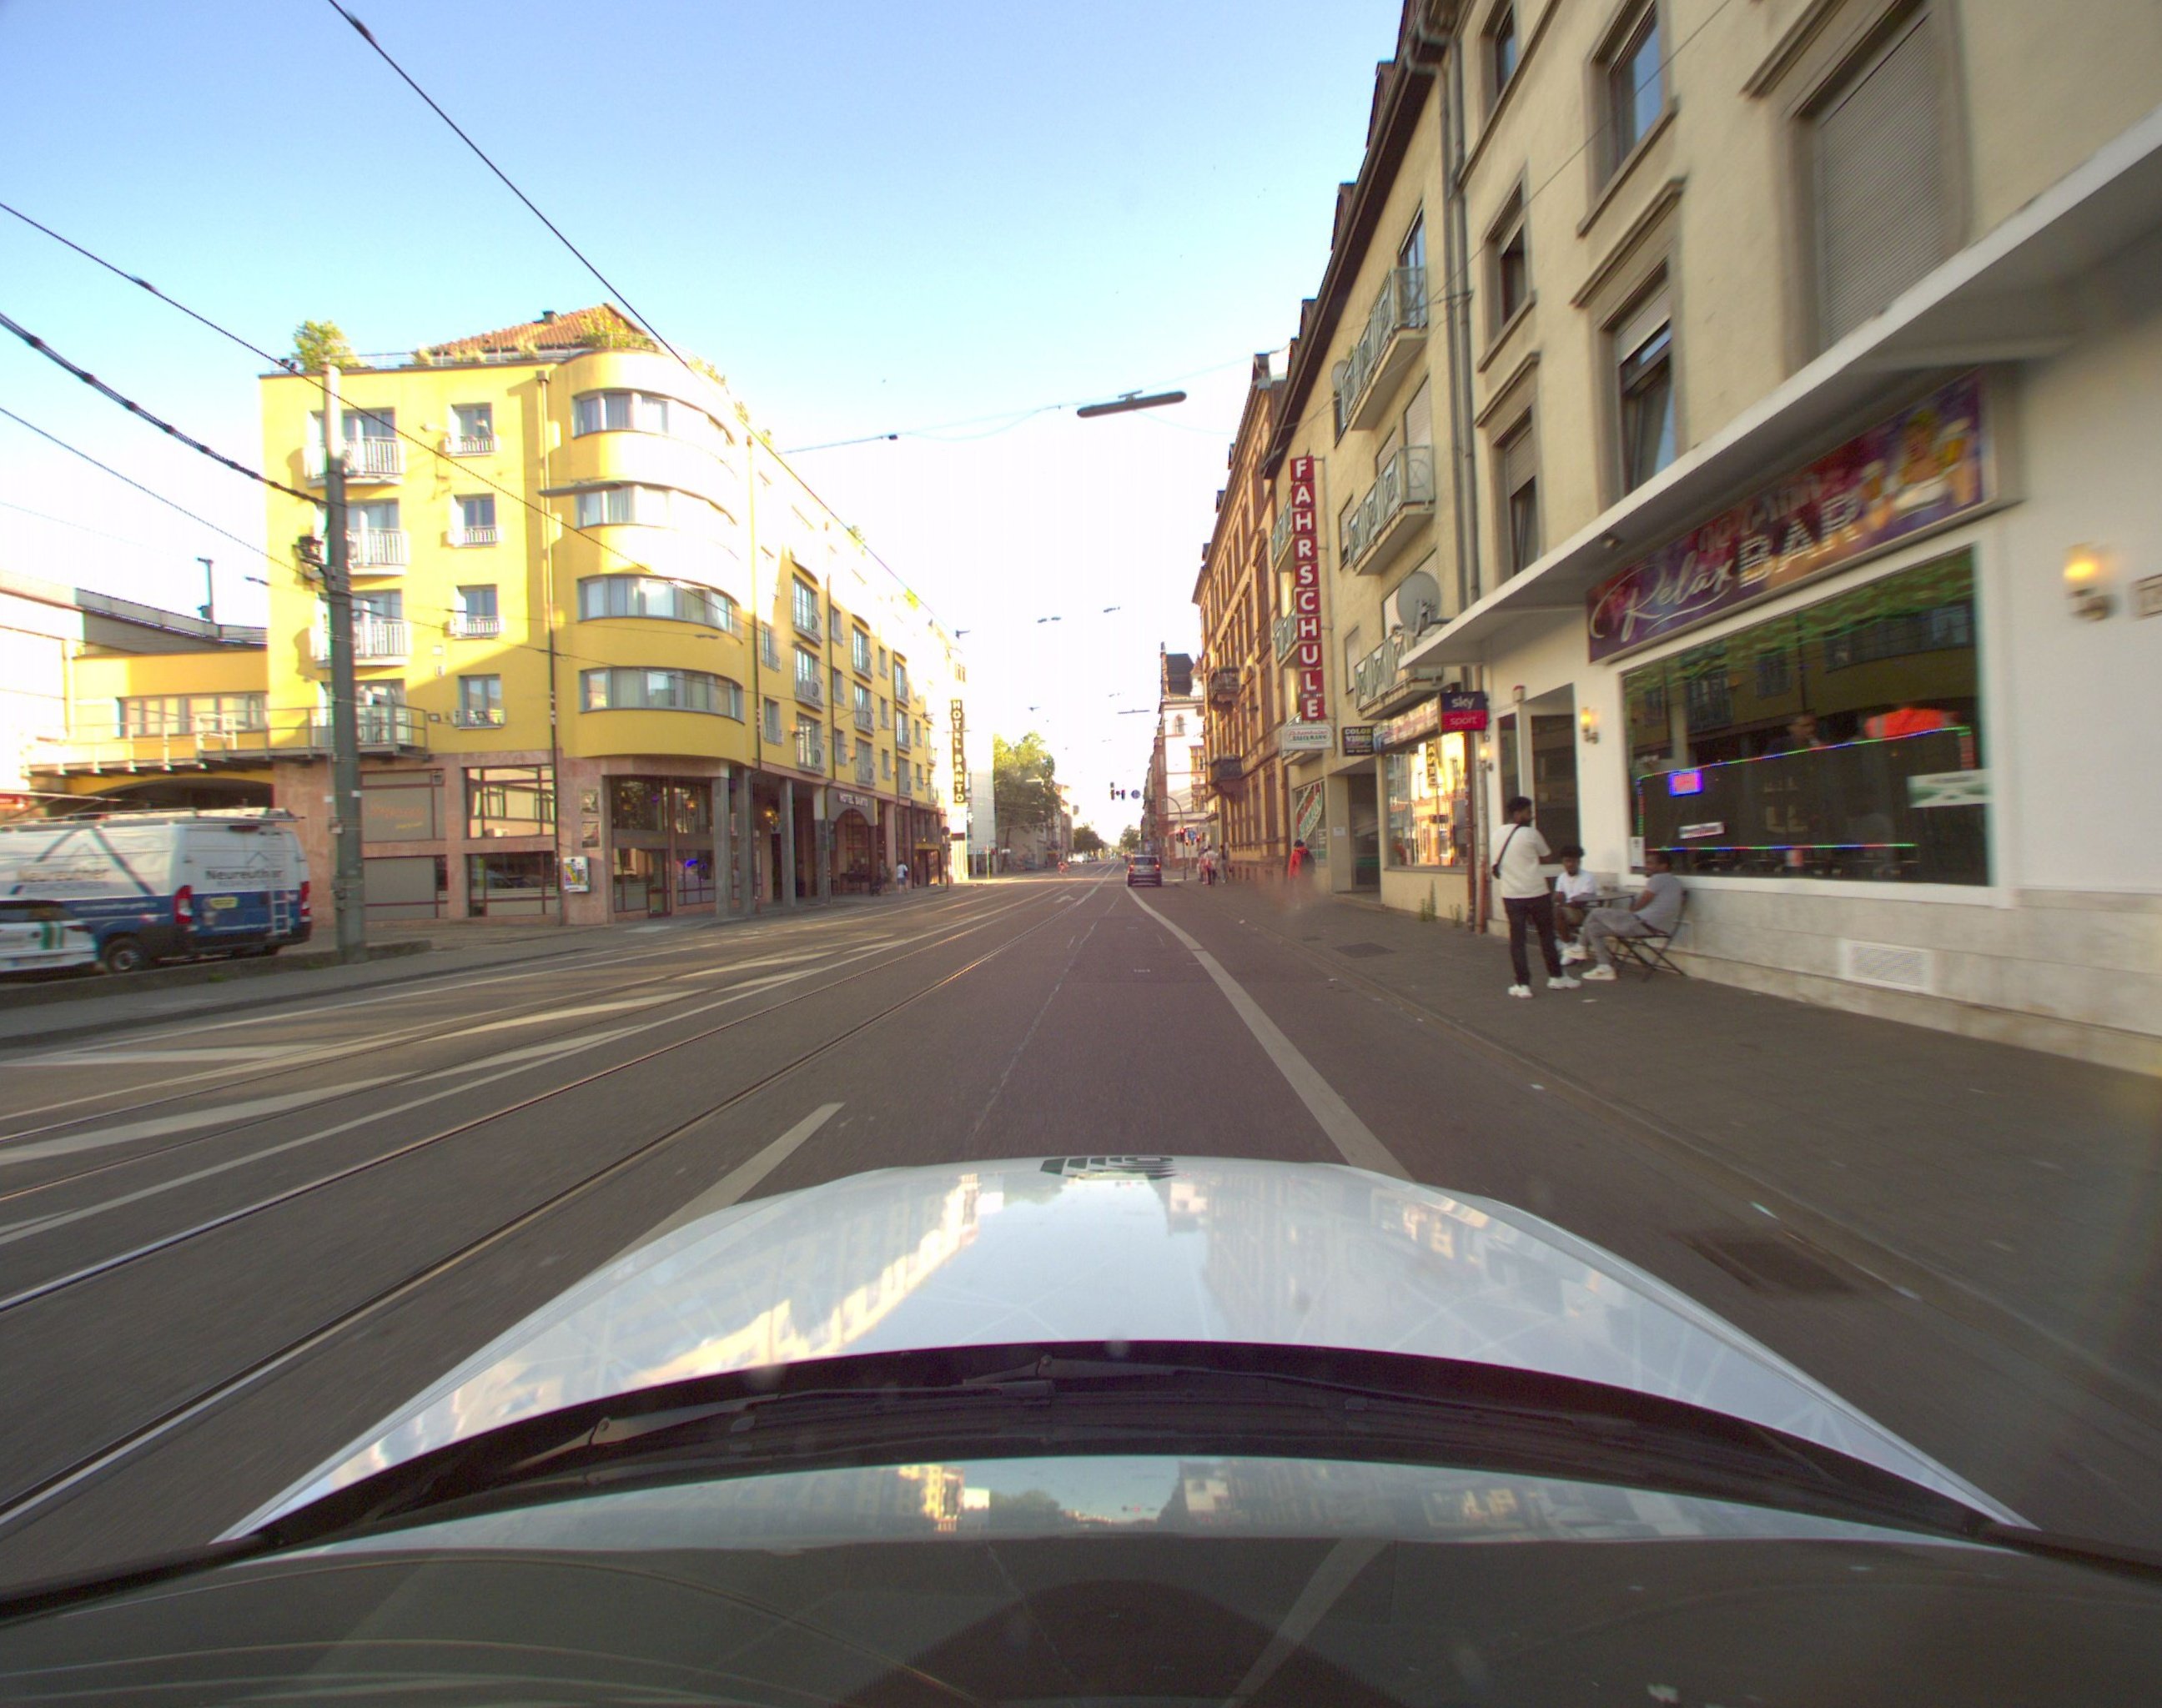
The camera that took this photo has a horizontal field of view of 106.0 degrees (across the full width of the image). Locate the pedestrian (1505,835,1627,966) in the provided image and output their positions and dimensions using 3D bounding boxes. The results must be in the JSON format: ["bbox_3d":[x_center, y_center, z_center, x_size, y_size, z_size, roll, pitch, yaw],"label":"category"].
[{"bbox_3d":[5.245,0.497,8.819,0.834,1.255,0.700,-8,0,-32],"label":"pedestrian"}]

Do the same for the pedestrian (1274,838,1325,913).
[{"bbox_3d":[5.168,0.501,19.311,0.794,1.627,0.826,-8,0,3],"label":"pedestrian"}]

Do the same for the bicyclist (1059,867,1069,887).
[{"bbox_3d":[-1.415,1.937,68.712,0.736,1.634,0.609,0,-2,7],"label":"bicyclist"}]

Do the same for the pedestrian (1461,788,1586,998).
[{"bbox_3d":[4.112,0.349,7.630,0.699,1.812,0.682,-8,0,18],"label":"pedestrian"}]

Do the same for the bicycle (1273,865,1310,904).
[{"bbox_3d":[6.249,0.884,24.281,0.552,1.061,2.313,-5,-1,4],"label":"bicycle"}]

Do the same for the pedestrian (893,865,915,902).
[{"bbox_3d":[-8.949,1.471,41.184,0.748,1.818,1.046,2,0,3],"label":"pedestrian"}]

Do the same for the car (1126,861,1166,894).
[{"bbox_3d":[3.416,1.206,43.367,1.985,1.618,4.003,1,0,3],"label":"car"}]

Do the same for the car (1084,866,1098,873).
[{"bbox_3d":[3.092,4.711,252.533,4.003,2.014,1.985,-2,-1,-22],"label":"car"}]

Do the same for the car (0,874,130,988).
[{"bbox_3d":[-16.669,1.141,11.422,4.569,1.475,1.881,-3,0,3],"label":"car"}]

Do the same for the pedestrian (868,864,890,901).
[{"bbox_3d":[-10.014,1.408,40.371,0.794,1.771,0.750,2,0,3],"label":"pedestrian"}]

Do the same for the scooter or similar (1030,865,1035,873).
[{"bbox_3d":[-6.997,2.159,117.866,0.515,1.057,1.478,-2,-1,1],"label":"scooter or similar"}]

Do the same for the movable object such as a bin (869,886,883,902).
[{"bbox_3d":[-9.981,1.951,39.569,0.381,0.716,0.842,2,0,4],"label":"movable object such as a bin"}]

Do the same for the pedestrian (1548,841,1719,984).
[{"bbox_3d":[5.203,0.530,7.729,0.706,1.174,1.010,-8,0,-16],"label":"pedestrian"}]

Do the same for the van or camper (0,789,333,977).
[{"bbox_3d":[-16.742,0.519,14.048,5.581,2.827,2.317,-3,0,3],"label":"van or camper"}]

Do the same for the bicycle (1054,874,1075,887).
[{"bbox_3d":[-1.401,2.238,68.686,1.705,1.034,0.600,0,-2,7],"label":"bicycle"}]

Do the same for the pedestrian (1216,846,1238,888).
[{"bbox_3d":[6.829,0.596,38.090,0.688,1.908,0.670,-6,0,1],"label":"pedestrian"}]

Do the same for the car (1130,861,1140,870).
[{"bbox_3d":[11.044,2.356,166.052,1.941,1.684,4.004,-2,-1,4],"label":"car"}]

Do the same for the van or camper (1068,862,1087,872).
[{"bbox_3d":[-1.033,3.529,216.160,4.661,2.563,1.982,-1,-1,-28],"label":"van or camper"}]

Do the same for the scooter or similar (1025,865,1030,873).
[{"bbox_3d":[-7.696,2.185,117.858,0.515,1.045,1.478,-2,-1,1],"label":"scooter or similar"}]

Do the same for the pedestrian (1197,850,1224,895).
[{"bbox_3d":[5.531,0.779,34.855,0.802,1.799,1.092,-6,0,1],"label":"pedestrian"}]

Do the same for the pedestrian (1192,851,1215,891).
[{"bbox_3d":[5.757,0.791,38.406,0.802,1.799,0.762,-6,0,1],"label":"pedestrian"}]

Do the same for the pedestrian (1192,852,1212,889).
[{"bbox_3d":[6.298,0.840,42.348,0.802,1.799,0.762,-6,0,3],"label":"pedestrian"}]
